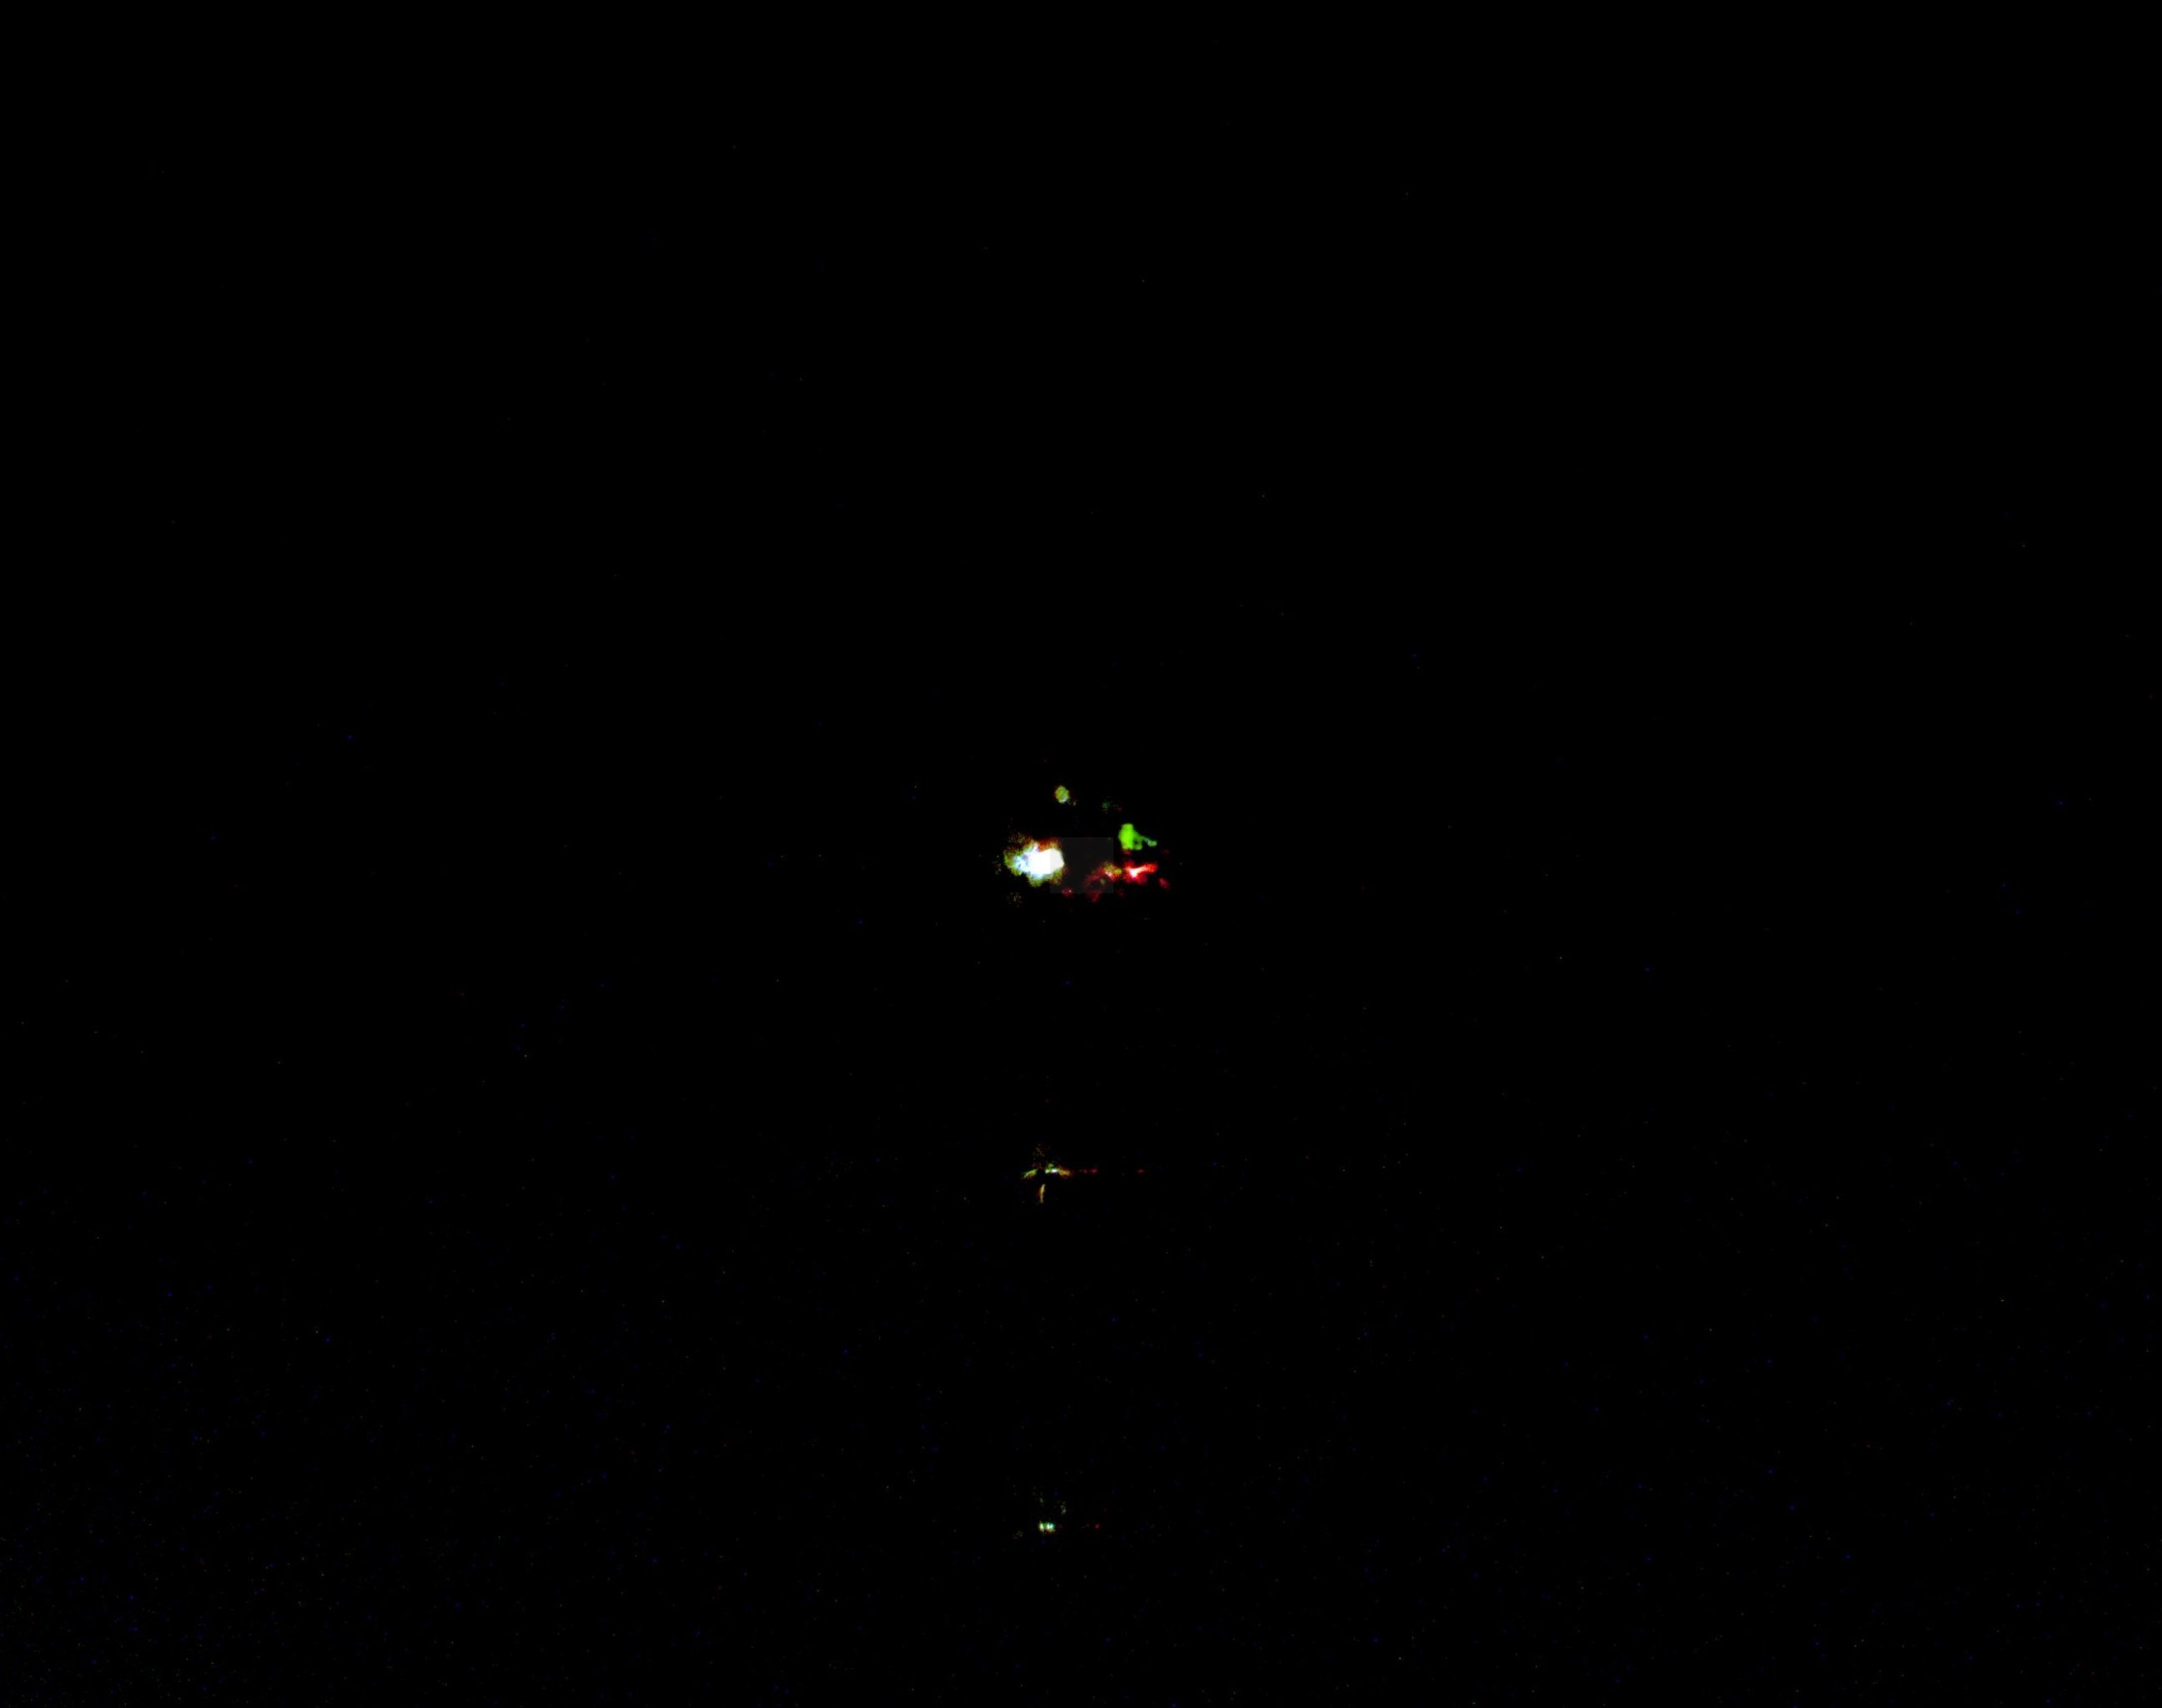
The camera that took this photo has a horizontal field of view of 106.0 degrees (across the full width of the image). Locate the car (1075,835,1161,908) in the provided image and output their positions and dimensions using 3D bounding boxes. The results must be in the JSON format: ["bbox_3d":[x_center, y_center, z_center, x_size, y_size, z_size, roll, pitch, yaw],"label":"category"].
[{"bbox_3d":[1.280,0.546,29.030,2.705,2.307,6.102,-1,0,2],"label":"car"}]

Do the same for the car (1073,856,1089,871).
[{"bbox_3d":[-0.051,1.298,106.390,1.988,1.915,3.997,0,-1,-2],"label":"car"}]
